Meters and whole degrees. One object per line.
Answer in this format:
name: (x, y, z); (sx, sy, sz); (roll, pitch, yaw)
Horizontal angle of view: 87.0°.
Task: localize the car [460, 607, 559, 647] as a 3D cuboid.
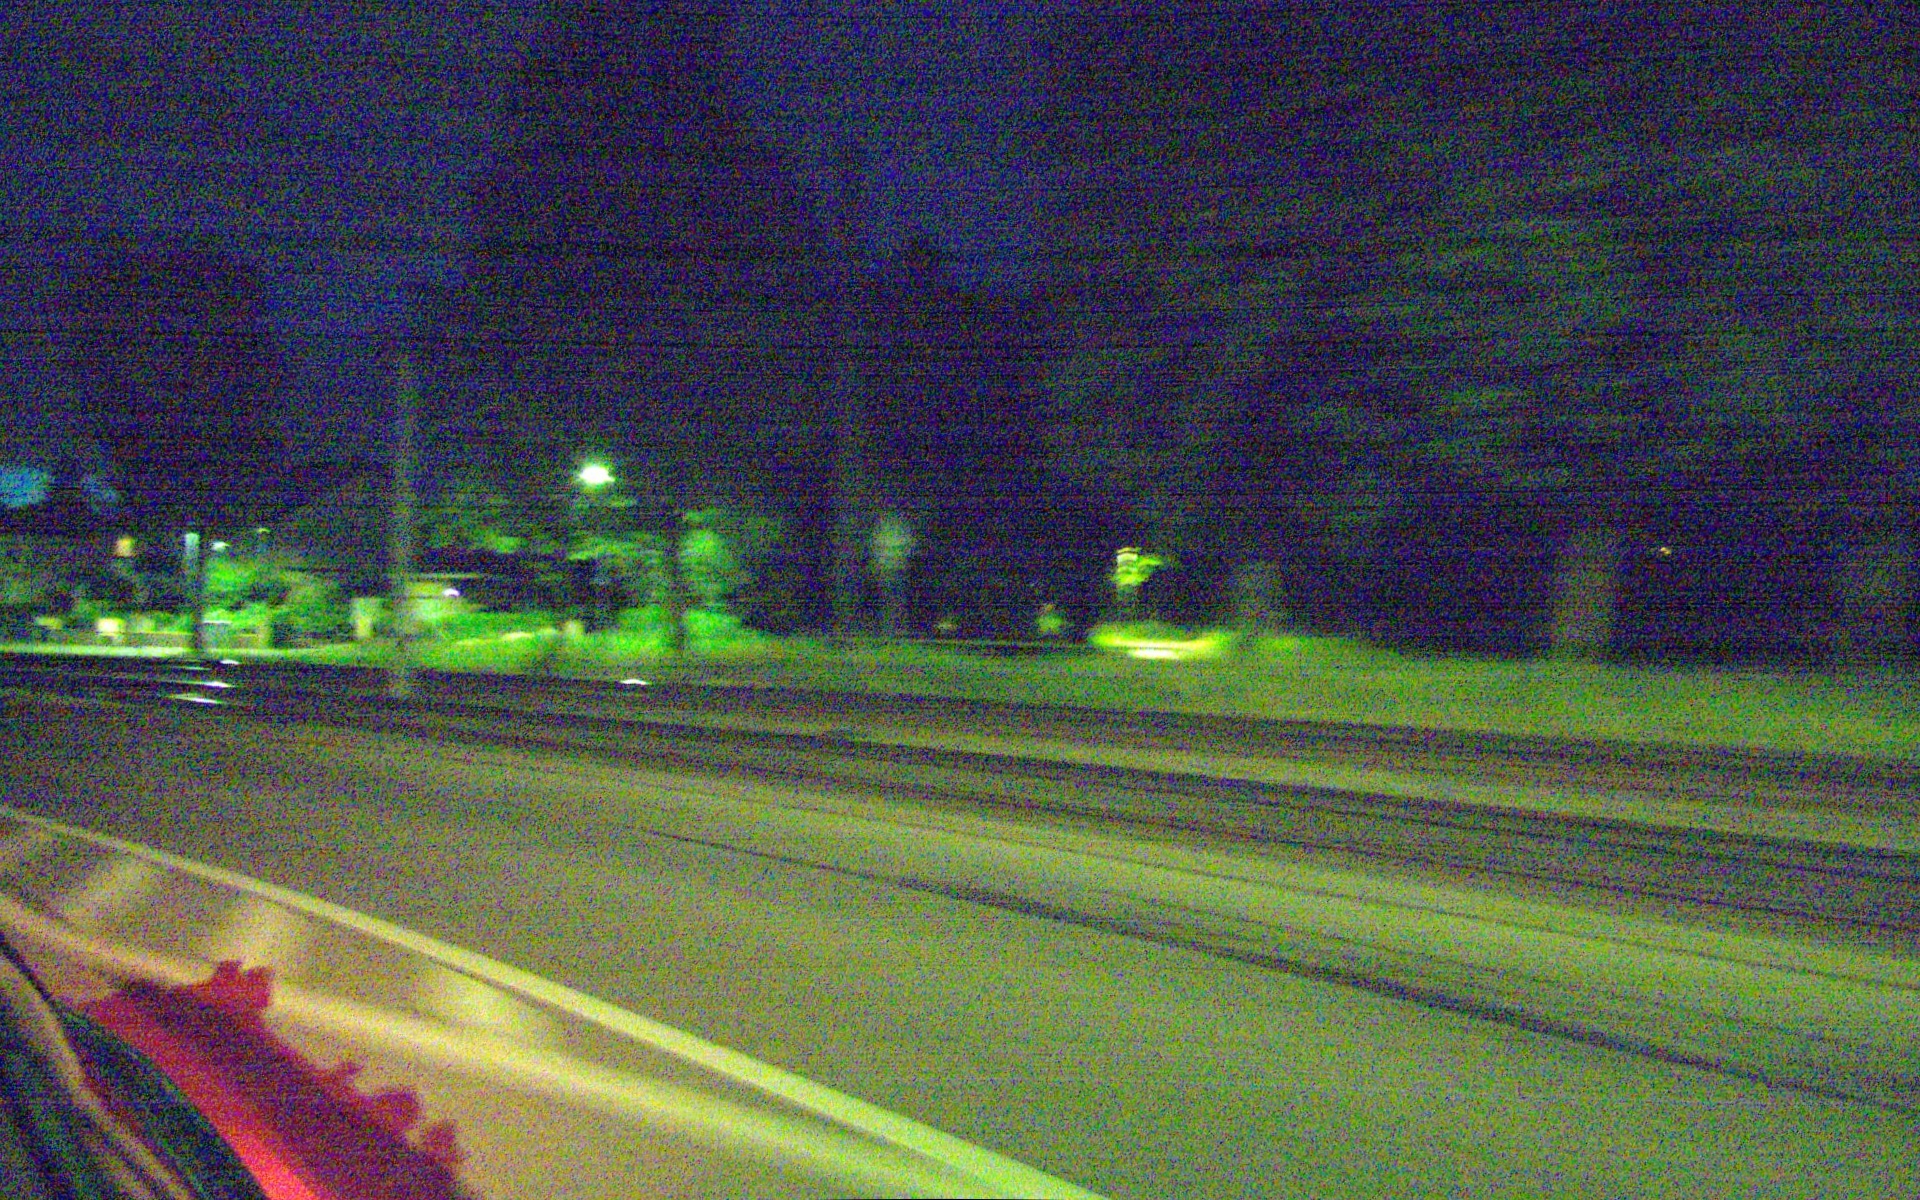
car: (-20.505, 1.196, 46.218); (1.749, 1.621, 3.963); (1, 1, 27)
